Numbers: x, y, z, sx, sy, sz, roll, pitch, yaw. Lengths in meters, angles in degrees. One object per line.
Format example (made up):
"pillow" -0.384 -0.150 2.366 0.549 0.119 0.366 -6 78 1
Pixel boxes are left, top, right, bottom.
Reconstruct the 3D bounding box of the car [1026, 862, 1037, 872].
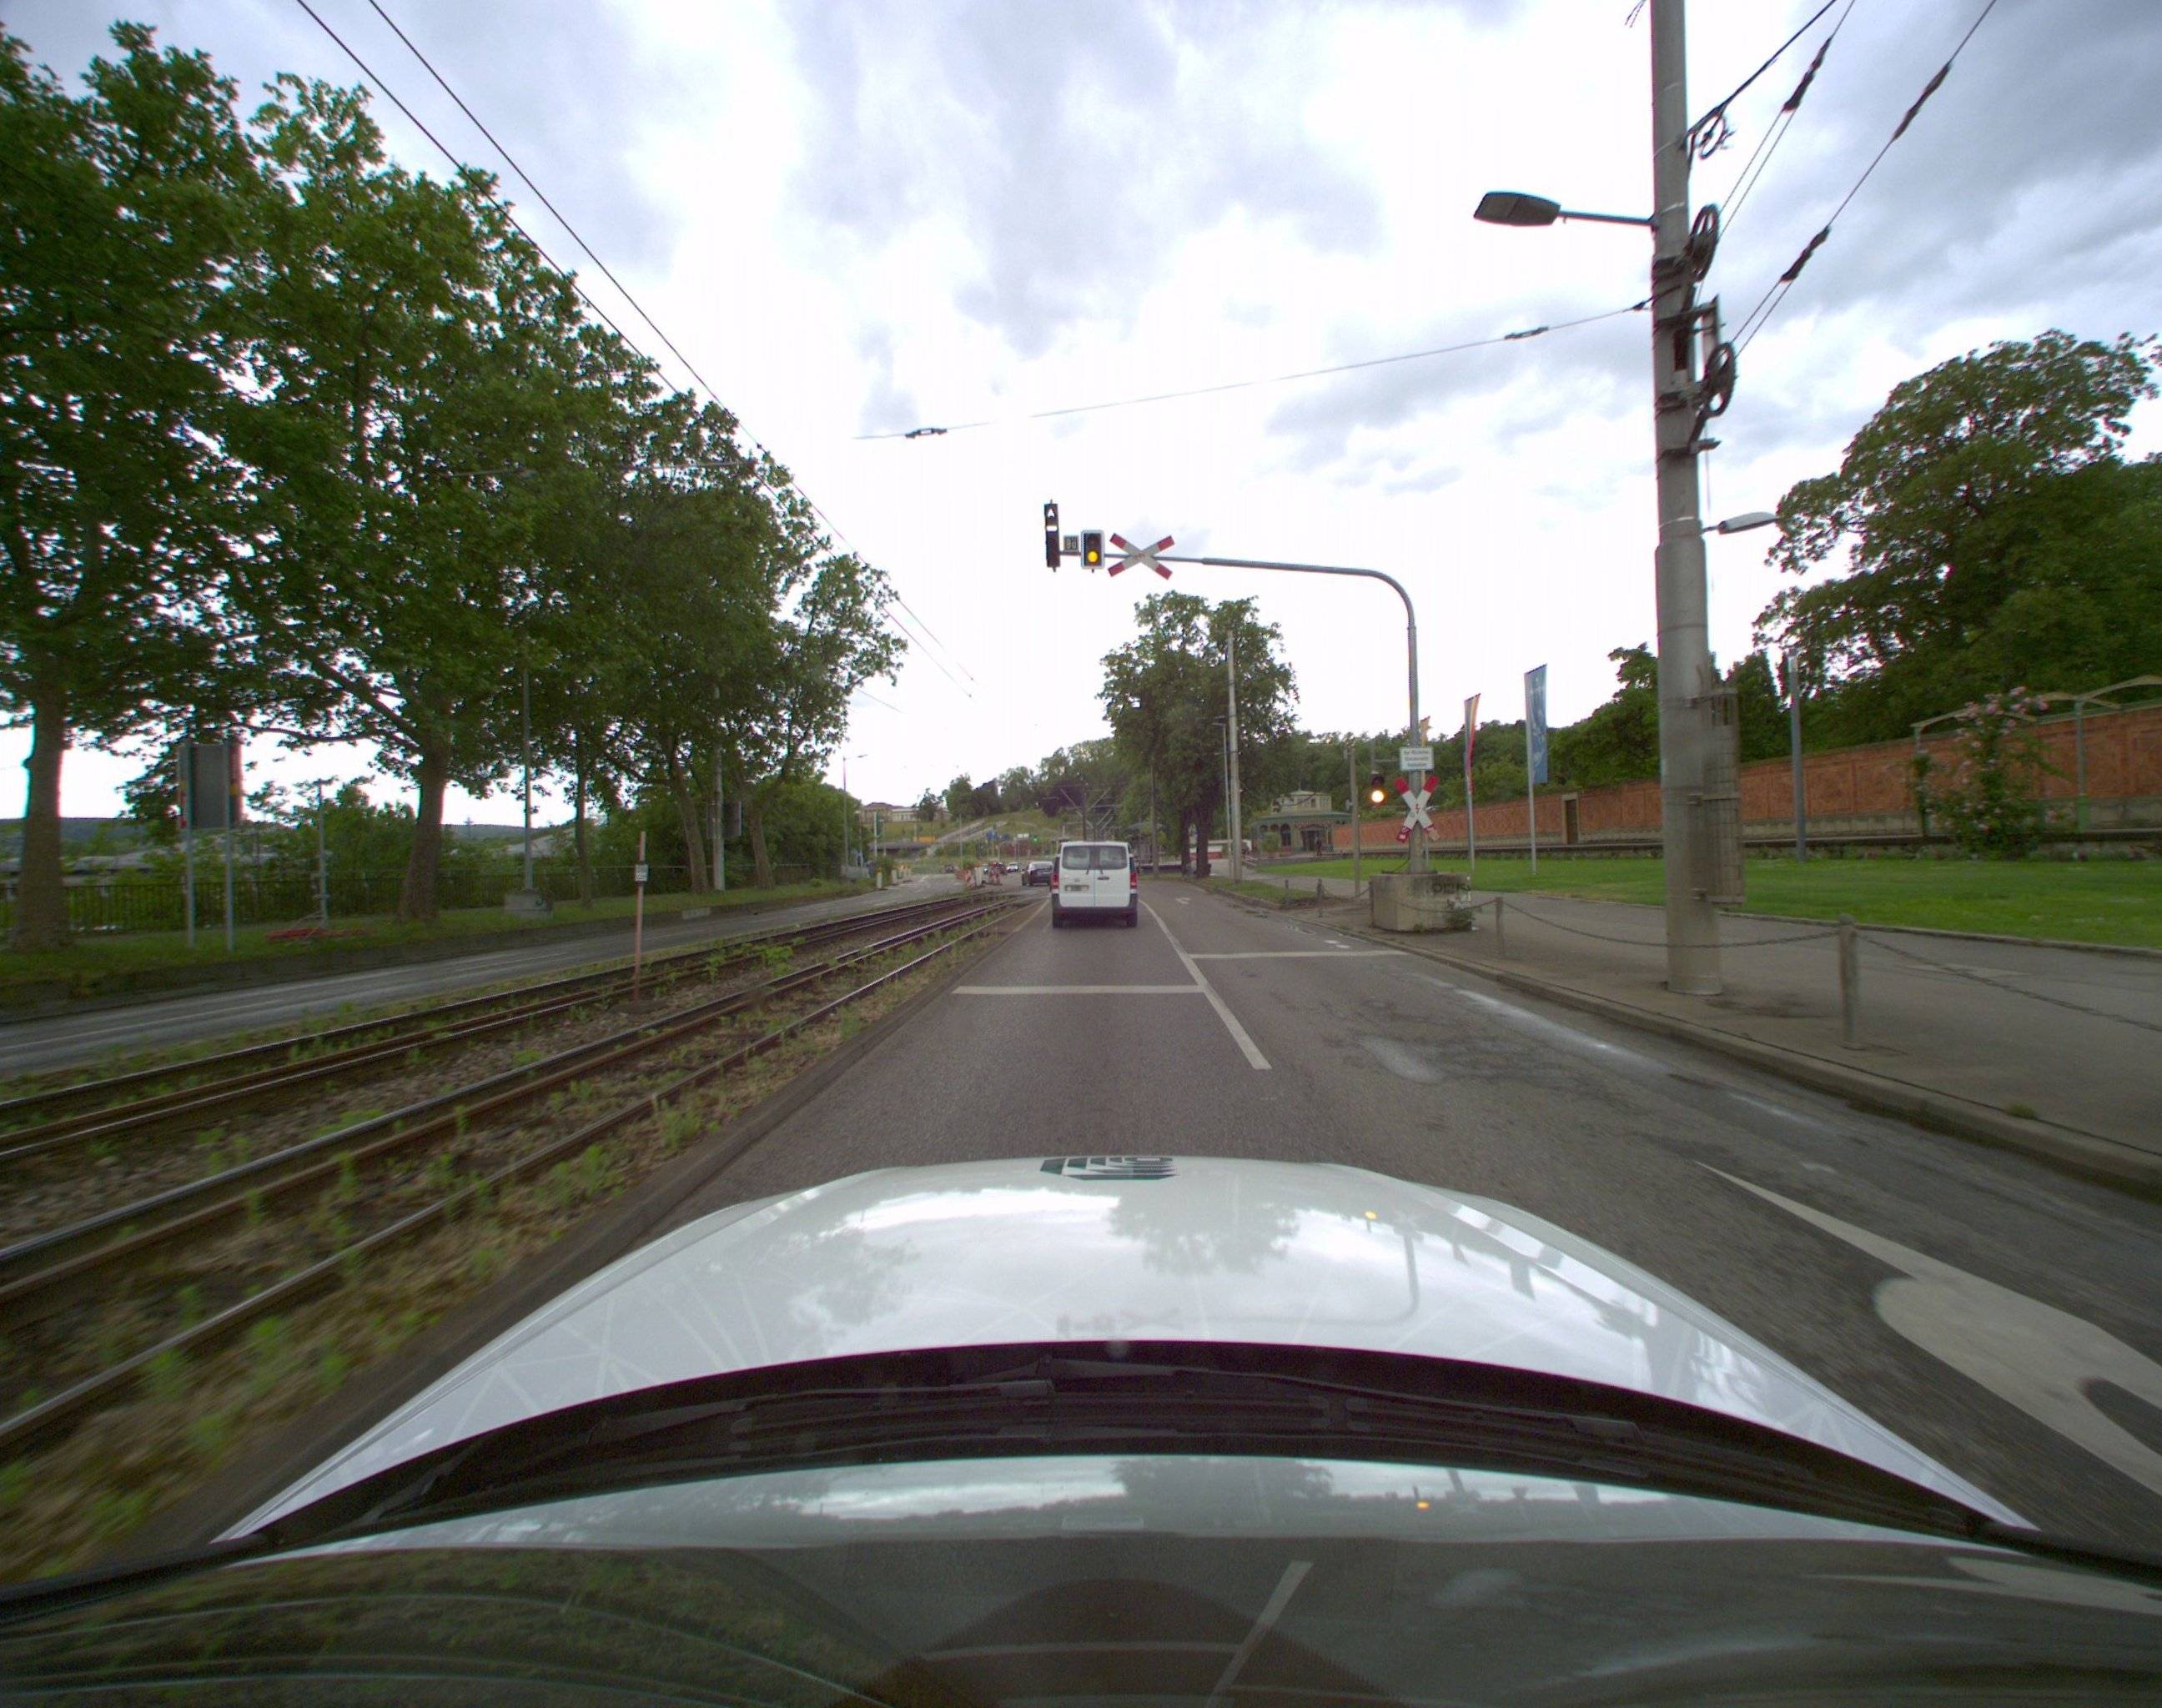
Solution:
"car" -8.255 2.171 136.276 1.749 1.772 3.995 0 -1 -3

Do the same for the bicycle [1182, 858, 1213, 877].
"bicycle" 7.881 0.901 55.141 1.981 1.158 0.742 -3 -1 6

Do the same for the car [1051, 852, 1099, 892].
"car" -0.329 0.807 37.586 1.836 1.729 4.054 -1 -1 -6

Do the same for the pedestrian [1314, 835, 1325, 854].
"pedestrian" 23.159 -0.878 79.166 0.943 1.838 0.551 0 -1 9

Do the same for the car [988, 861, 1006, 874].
"car" -10.040 1.605 97.252 1.838 1.467 4.048 -1 -1 -10

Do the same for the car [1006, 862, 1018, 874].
"car" -11.969 2.421 141.288 1.929 2.014 3.997 0 -1 -1

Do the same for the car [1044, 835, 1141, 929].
"car" 0.308 0.603 18.967 1.952 1.904 4.463 -1 -1 2

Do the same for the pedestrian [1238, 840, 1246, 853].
"pedestrian" 14.732 -0.667 74.394 0.547 1.201 0.668 0 -1 -4

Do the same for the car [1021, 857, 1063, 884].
"car" -2.379 0.986 49.113 1.840 1.582 4.044 -1 -1 -13
